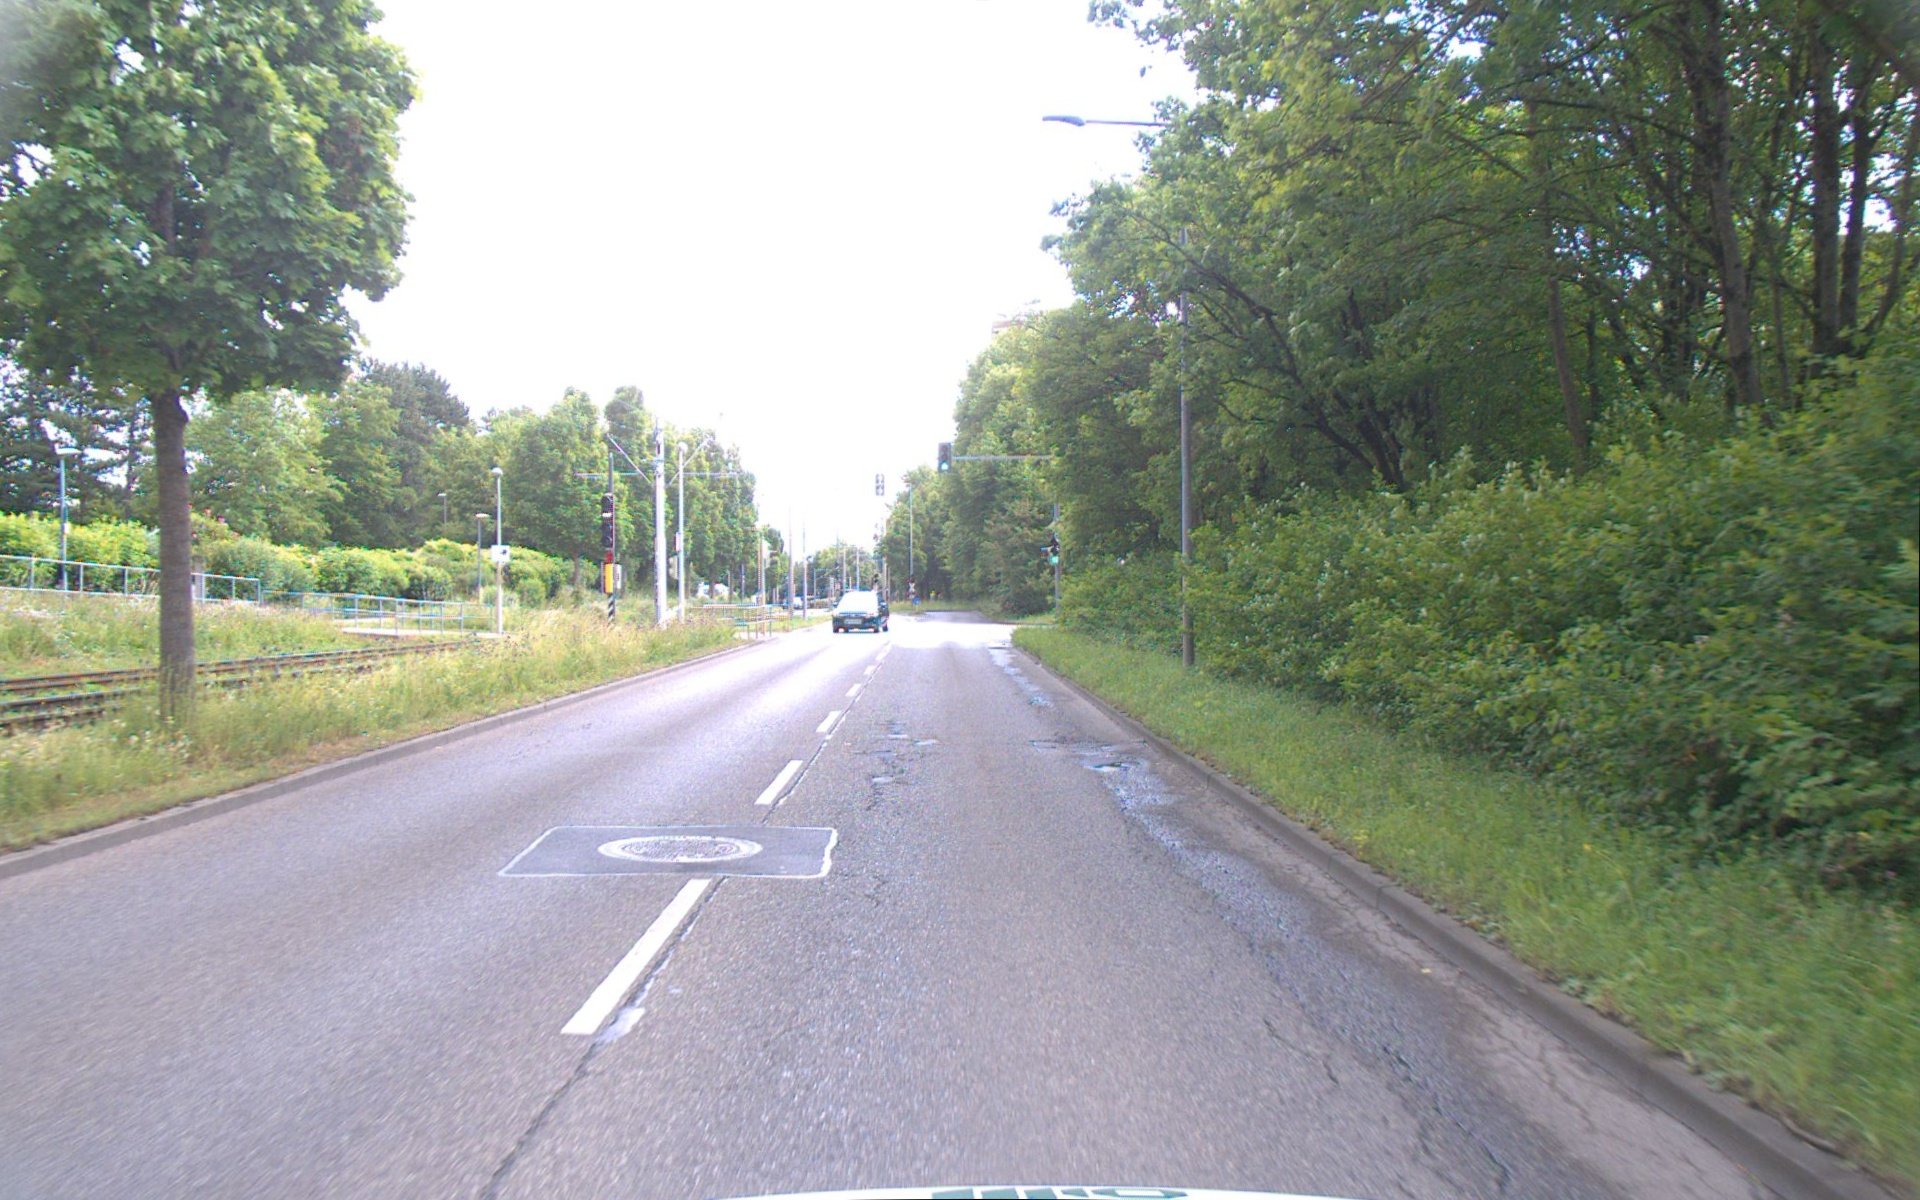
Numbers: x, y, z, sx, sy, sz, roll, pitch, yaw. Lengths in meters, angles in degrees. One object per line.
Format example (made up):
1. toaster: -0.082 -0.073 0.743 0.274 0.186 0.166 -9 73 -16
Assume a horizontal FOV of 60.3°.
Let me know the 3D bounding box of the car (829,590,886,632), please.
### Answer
1. car: -3.797 0.375 61.970 1.812 1.496 4.256 0 1 0
